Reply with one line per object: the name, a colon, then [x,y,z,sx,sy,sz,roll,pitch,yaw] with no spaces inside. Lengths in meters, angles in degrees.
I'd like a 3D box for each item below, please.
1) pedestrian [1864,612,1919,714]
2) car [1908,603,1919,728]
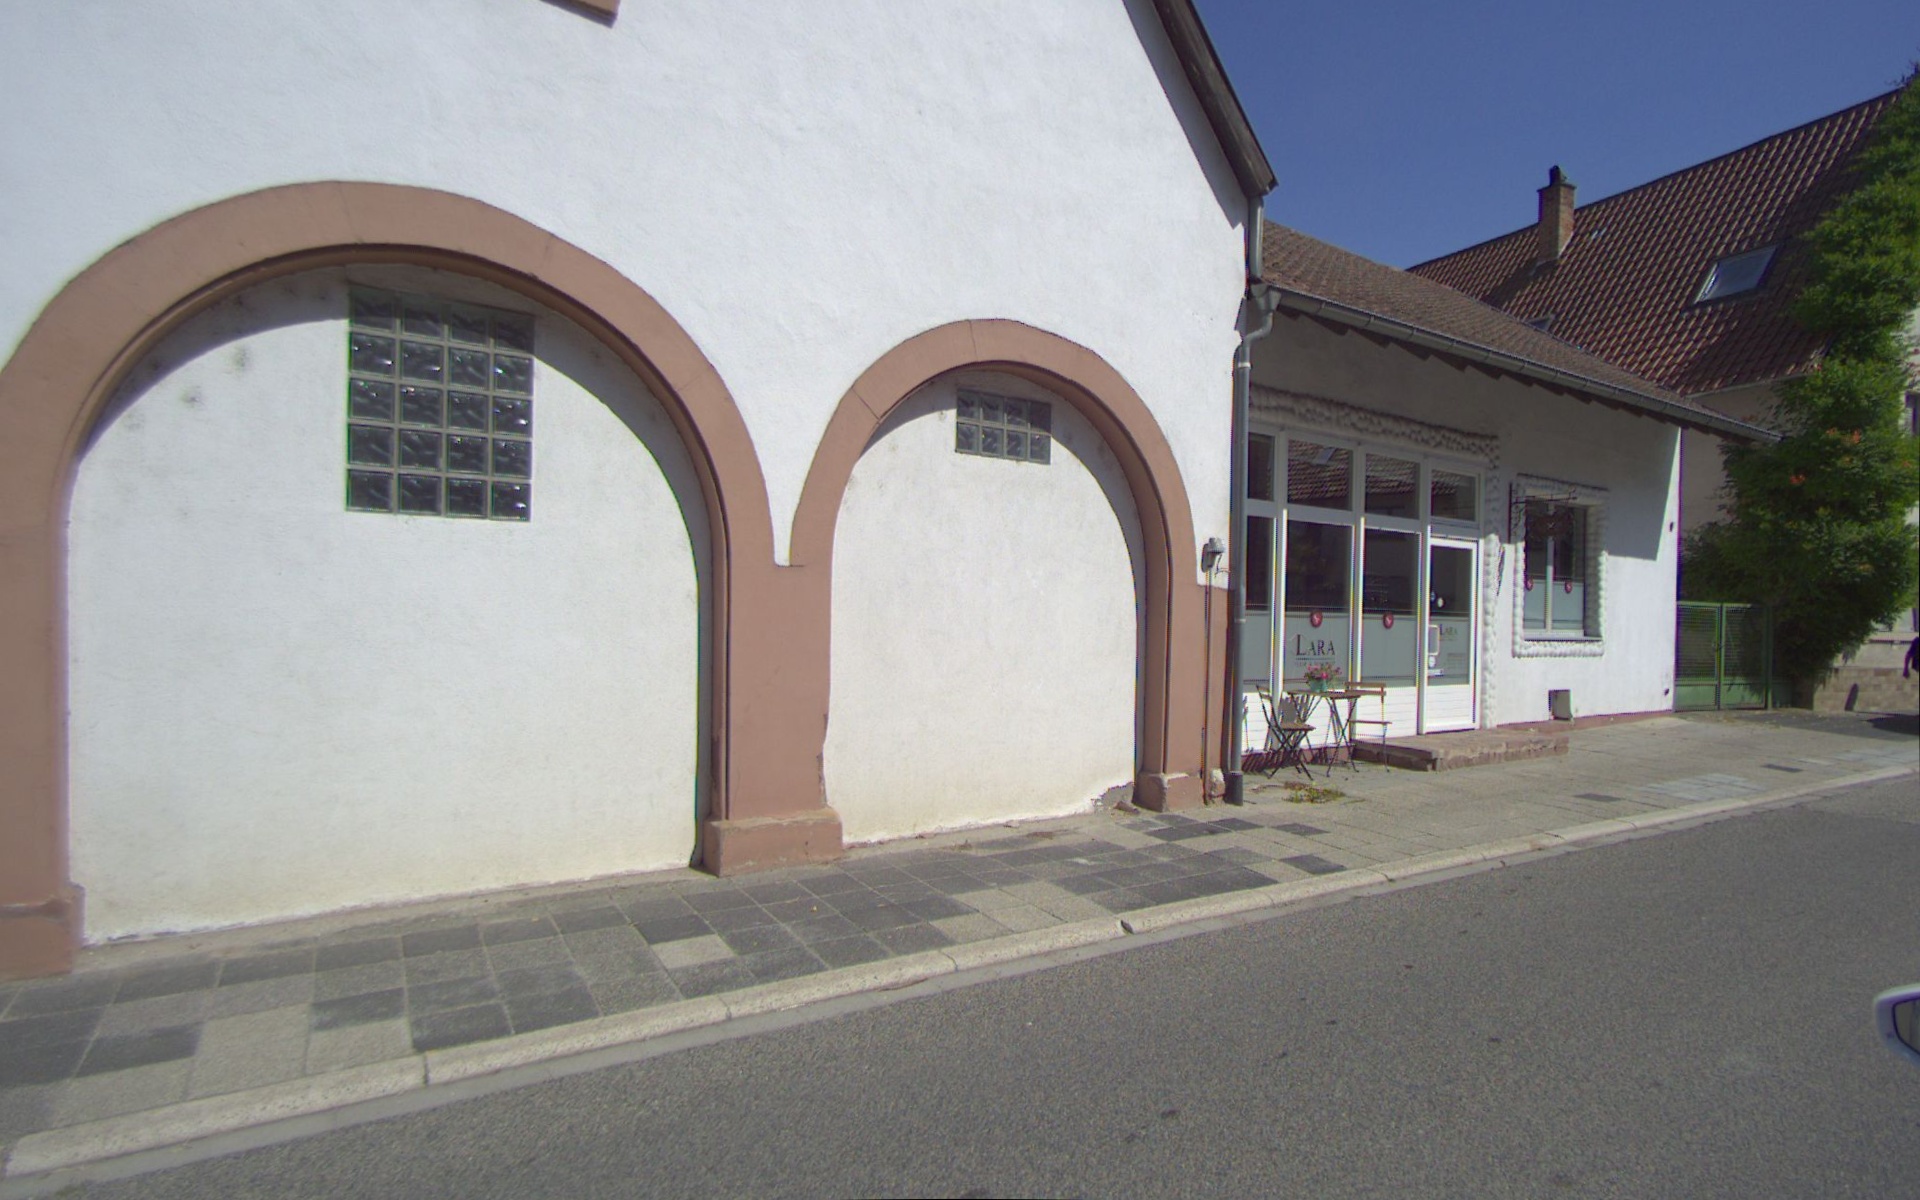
pedestrian: [15.262,0.994,15.950,1.126,1.572,1.008,1,1,-30]
car: [15.077,0.944,13.922,4.383,1.669,1.844,1,1,-34]
